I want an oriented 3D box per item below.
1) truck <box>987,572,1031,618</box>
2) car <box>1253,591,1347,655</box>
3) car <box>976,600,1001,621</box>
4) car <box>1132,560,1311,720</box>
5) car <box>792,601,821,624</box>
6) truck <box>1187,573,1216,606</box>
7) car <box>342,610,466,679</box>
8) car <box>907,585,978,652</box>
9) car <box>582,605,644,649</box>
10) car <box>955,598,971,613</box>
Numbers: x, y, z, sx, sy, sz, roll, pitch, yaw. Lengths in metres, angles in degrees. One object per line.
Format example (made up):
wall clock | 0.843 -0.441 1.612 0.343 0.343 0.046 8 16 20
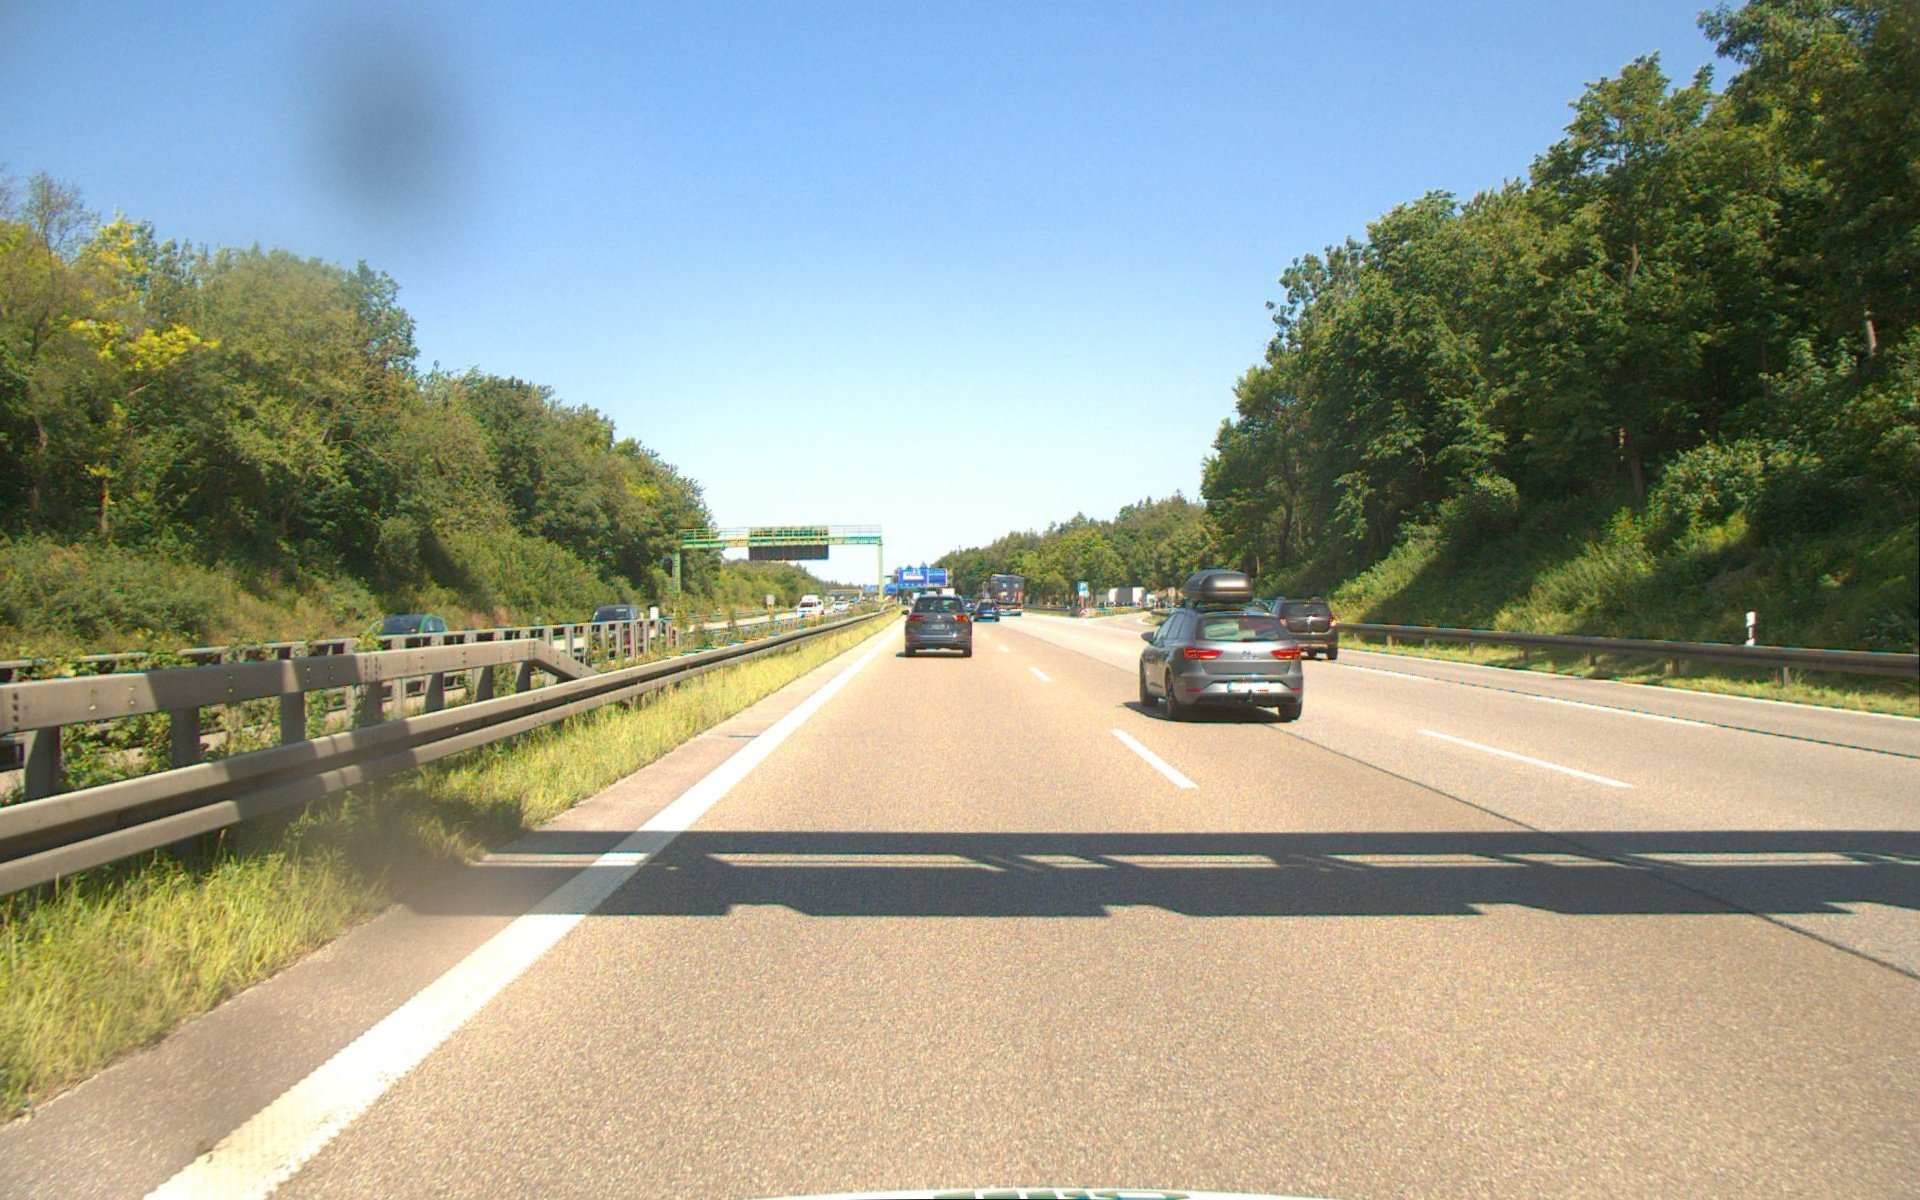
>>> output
truck | 4.818 -0.486 166.420 3.704 4.499 14.046 0 0 -2
car | 9.075 0.585 44.443 1.728 1.595 4.259 1 0 1
car | 2.035 0.740 118.086 1.728 1.406 4.259 1 0 1
car | 3.458 0.478 22.672 1.631 1.909 4.827 -1 0 0
car | -11.578 0.938 124.818 1.775 1.645 3.913 -3 0 0
truck | 29.650 -1.284 202.894 3.215 4.016 9.358 -1 0 9
car | -13.783 1.065 41.231 1.624 1.504 4.319 -3 0 -1
car | -0.421 0.469 44.620 1.762 1.698 4.259 1 0 1
car | -13.952 1.056 66.620 1.623 1.645 3.913 -3 0 0
car | 0.309 0.571 174.130 1.441 1.422 3.409 2 0 -2
